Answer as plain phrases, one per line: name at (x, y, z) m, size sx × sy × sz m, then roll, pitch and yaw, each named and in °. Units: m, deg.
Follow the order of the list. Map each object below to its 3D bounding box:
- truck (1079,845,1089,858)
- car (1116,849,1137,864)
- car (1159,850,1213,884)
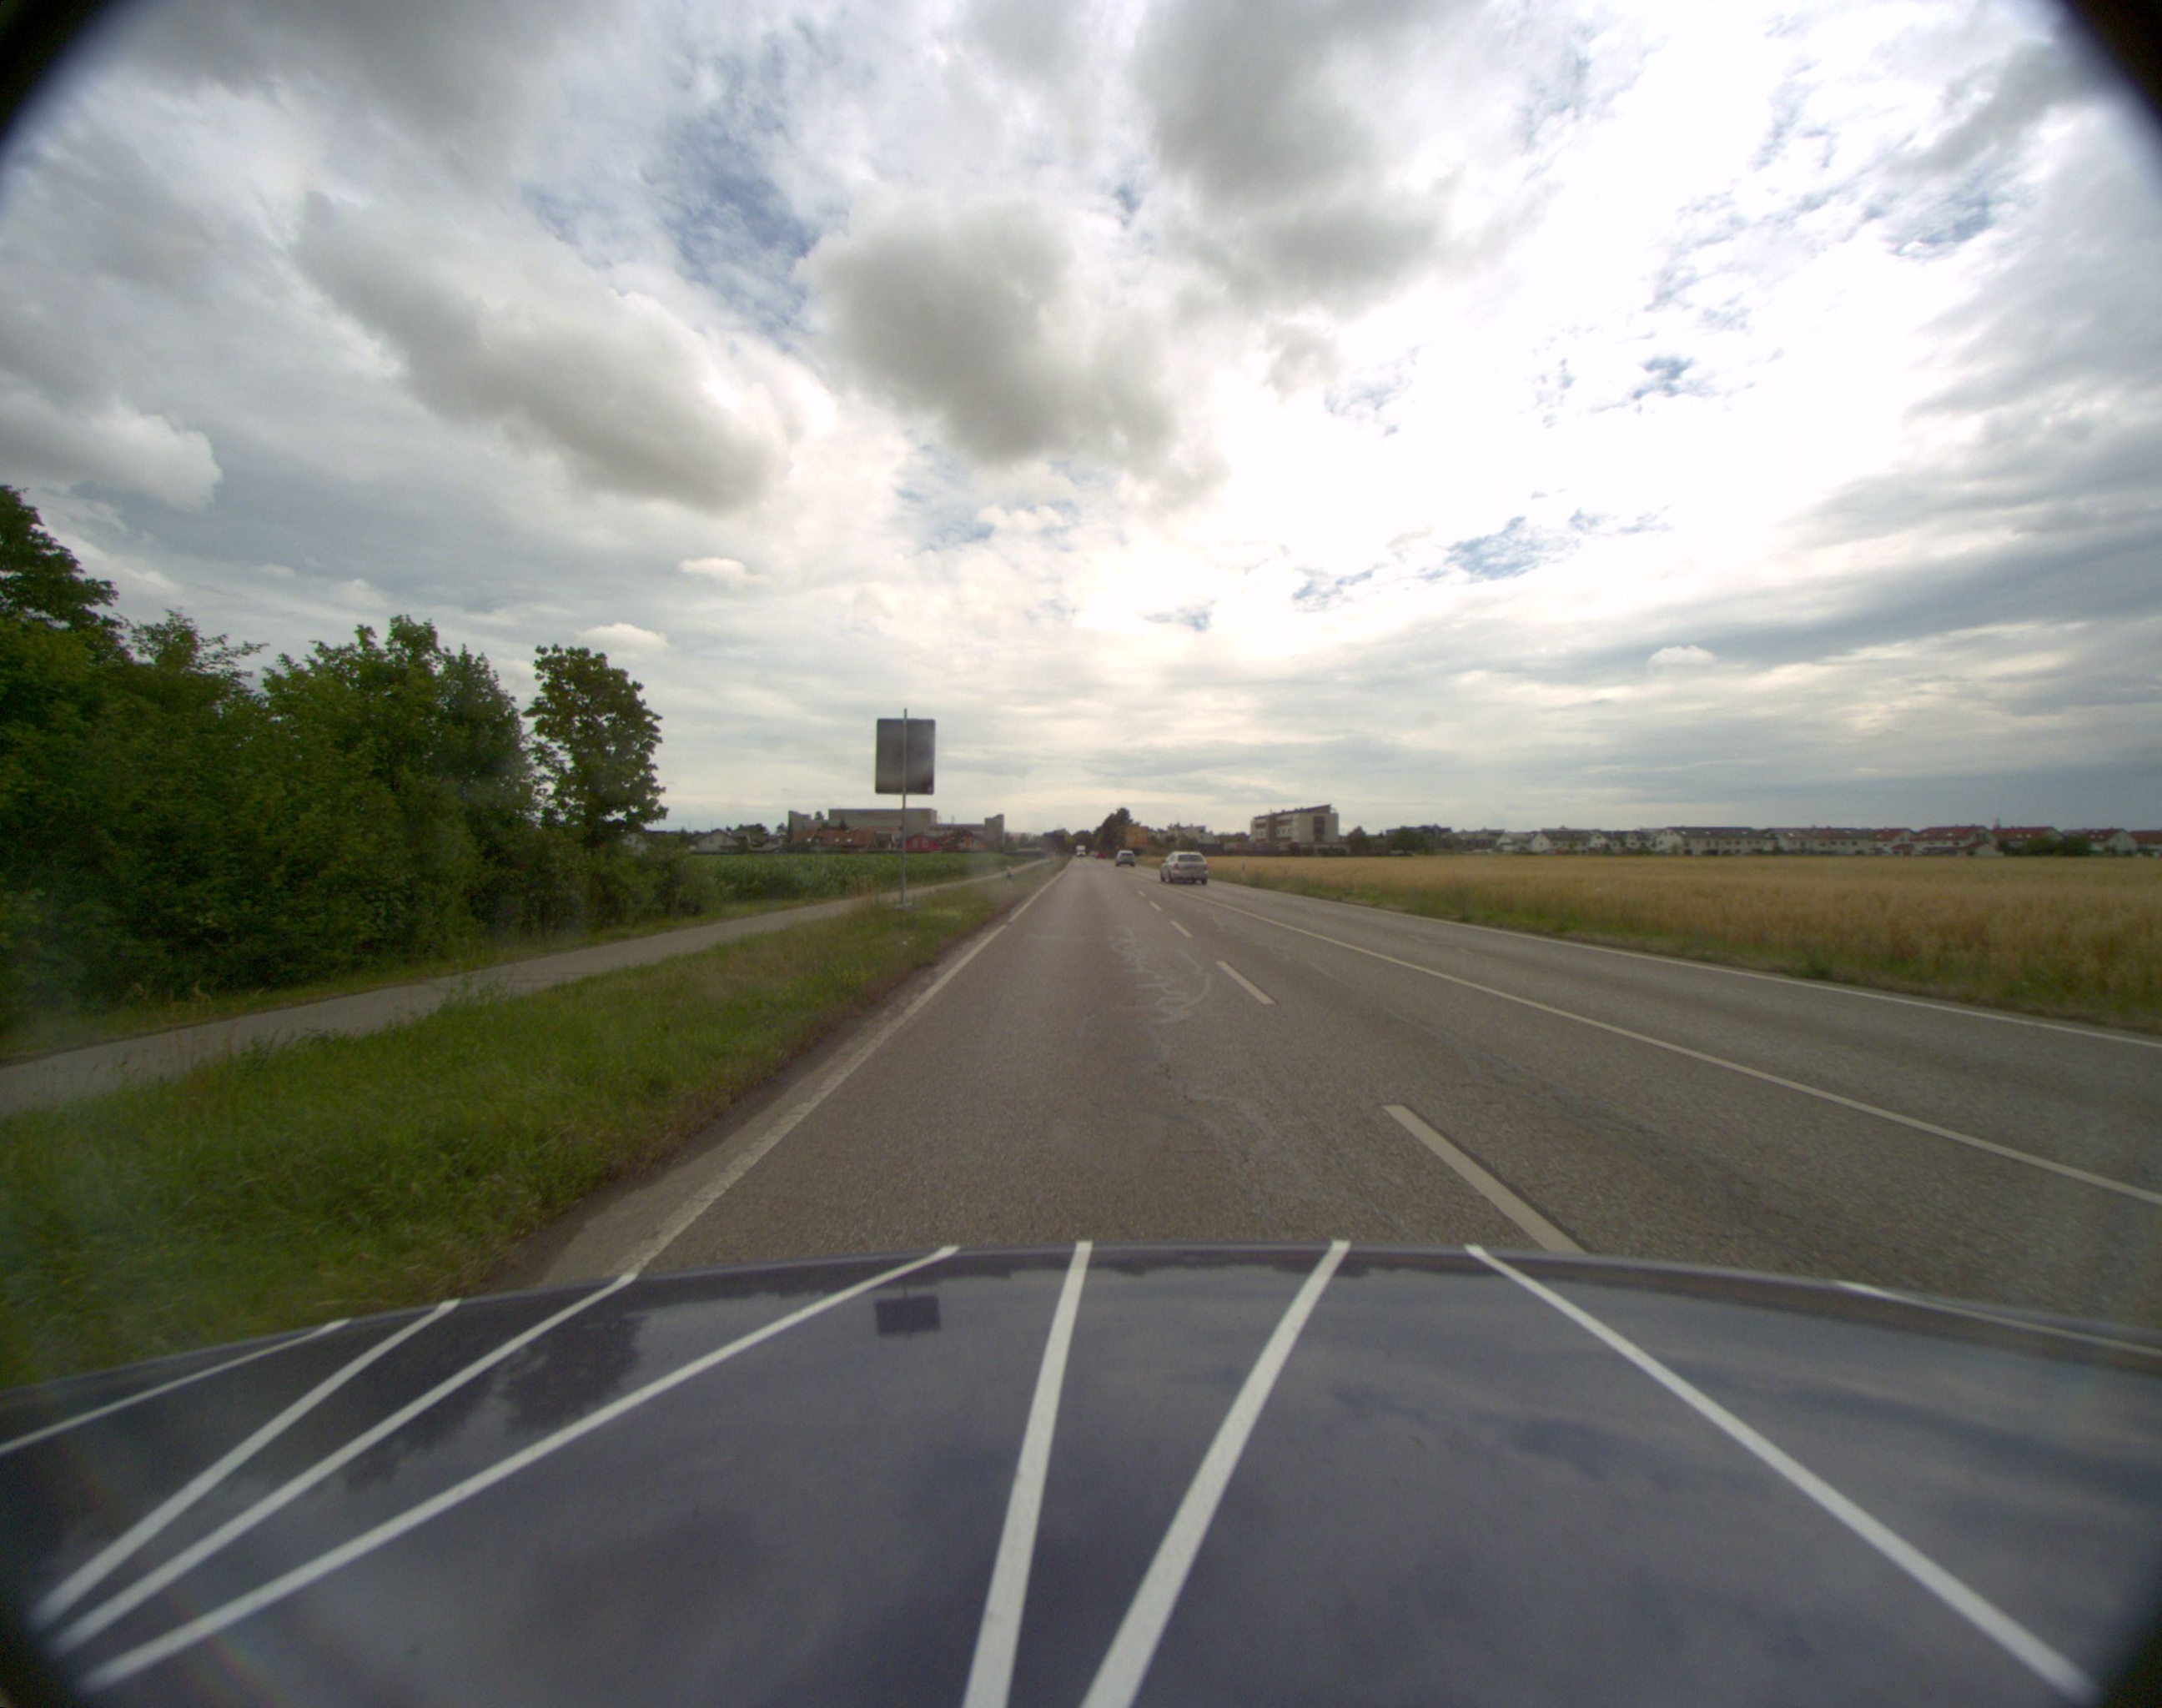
truck at (0.784, -0.819, 217.586) m, size 2.813 × 3.588 × 11.218 m, roll 0°, pitch 0°, yaw 1°
car at (4.714, 0.241, 78.971) m, size 1.856 × 1.480 × 4.263 m, roll 0°, pitch 0°, yaw -1°
car at (4.929, 0.577, 36.213) m, size 1.856 × 1.480 × 4.263 m, roll 0°, pitch 0°, yaw -2°
